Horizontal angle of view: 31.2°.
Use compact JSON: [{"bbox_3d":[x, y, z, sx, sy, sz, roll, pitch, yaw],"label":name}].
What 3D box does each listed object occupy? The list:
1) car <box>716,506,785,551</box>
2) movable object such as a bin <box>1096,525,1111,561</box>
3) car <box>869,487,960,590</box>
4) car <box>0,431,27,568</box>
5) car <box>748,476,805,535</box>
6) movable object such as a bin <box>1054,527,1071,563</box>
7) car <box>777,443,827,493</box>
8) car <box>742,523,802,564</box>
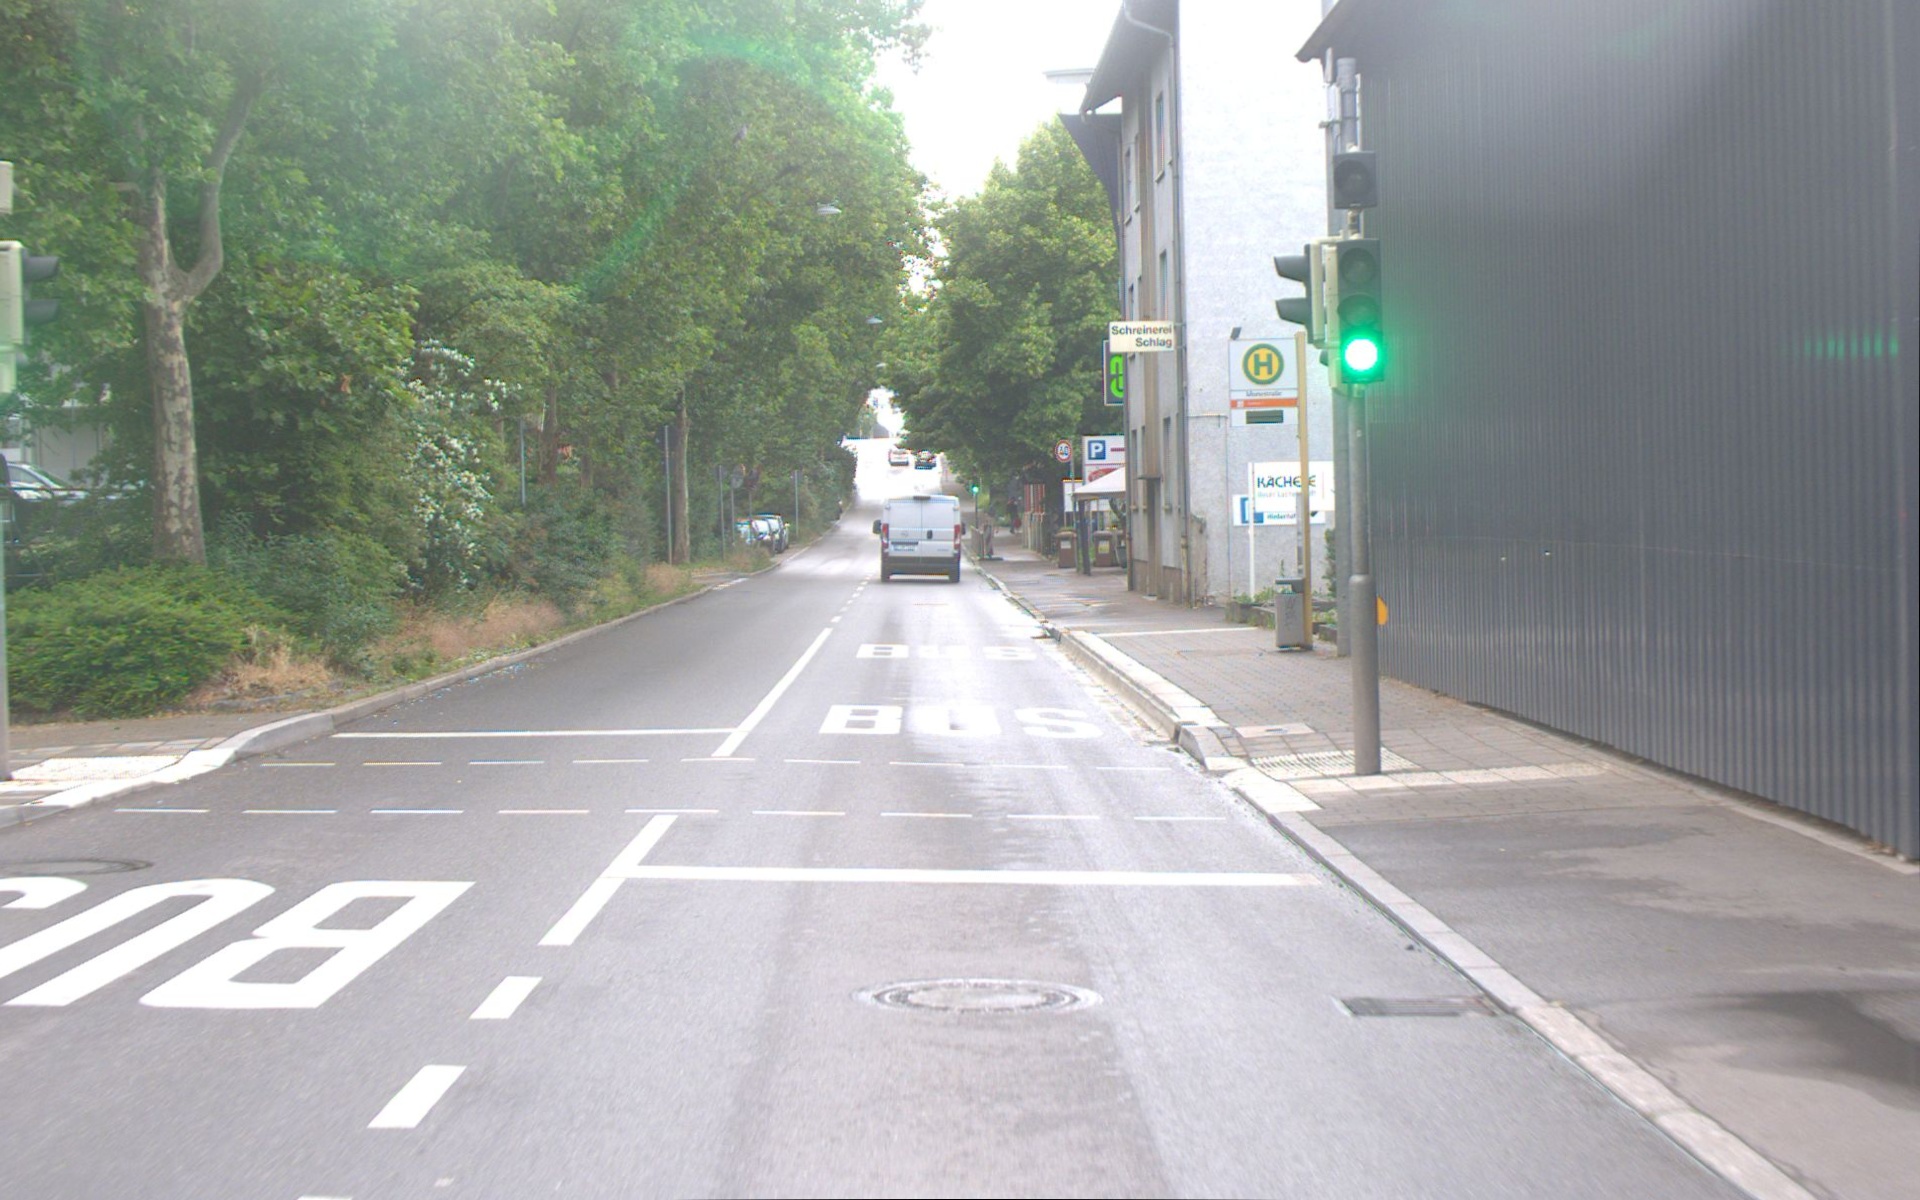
[{"bbox_3d":[-7.995,-2.714,131.427,2.215,1.587,4.609,1,0,2],"label":"car"},{"bbox_3d":[4.268,-1.691,102.248,0.399,1.063,0.358,0,0,-7],"label":"movable object such as a bin"},{"bbox_3d":[-1.160,-1.561,89.109,2.282,2.544,4.000,0,0,0],"label":"car"},{"bbox_3d":[-16.164,-1.481,51.010,4.167,2.007,1.719,0,1,-2],"label":"car"},{"bbox_3d":[-8.266,-4.236,155.298,2.215,2.525,4.609,1,0,2],"label":"car"},{"bbox_3d":[3.048,-1.633,102.306,0.399,1.063,0.358,-4,0,-7],"label":"movable object such as a bin"},{"bbox_3d":[-8.125,-6.776,176.837,2.215,2.286,4.609,1,-1,2],"label":"car"},{"bbox_3d":[-8.206,-2.452,150.498,2.215,1.685,4.609,1,0,2],"label":"car"}]
